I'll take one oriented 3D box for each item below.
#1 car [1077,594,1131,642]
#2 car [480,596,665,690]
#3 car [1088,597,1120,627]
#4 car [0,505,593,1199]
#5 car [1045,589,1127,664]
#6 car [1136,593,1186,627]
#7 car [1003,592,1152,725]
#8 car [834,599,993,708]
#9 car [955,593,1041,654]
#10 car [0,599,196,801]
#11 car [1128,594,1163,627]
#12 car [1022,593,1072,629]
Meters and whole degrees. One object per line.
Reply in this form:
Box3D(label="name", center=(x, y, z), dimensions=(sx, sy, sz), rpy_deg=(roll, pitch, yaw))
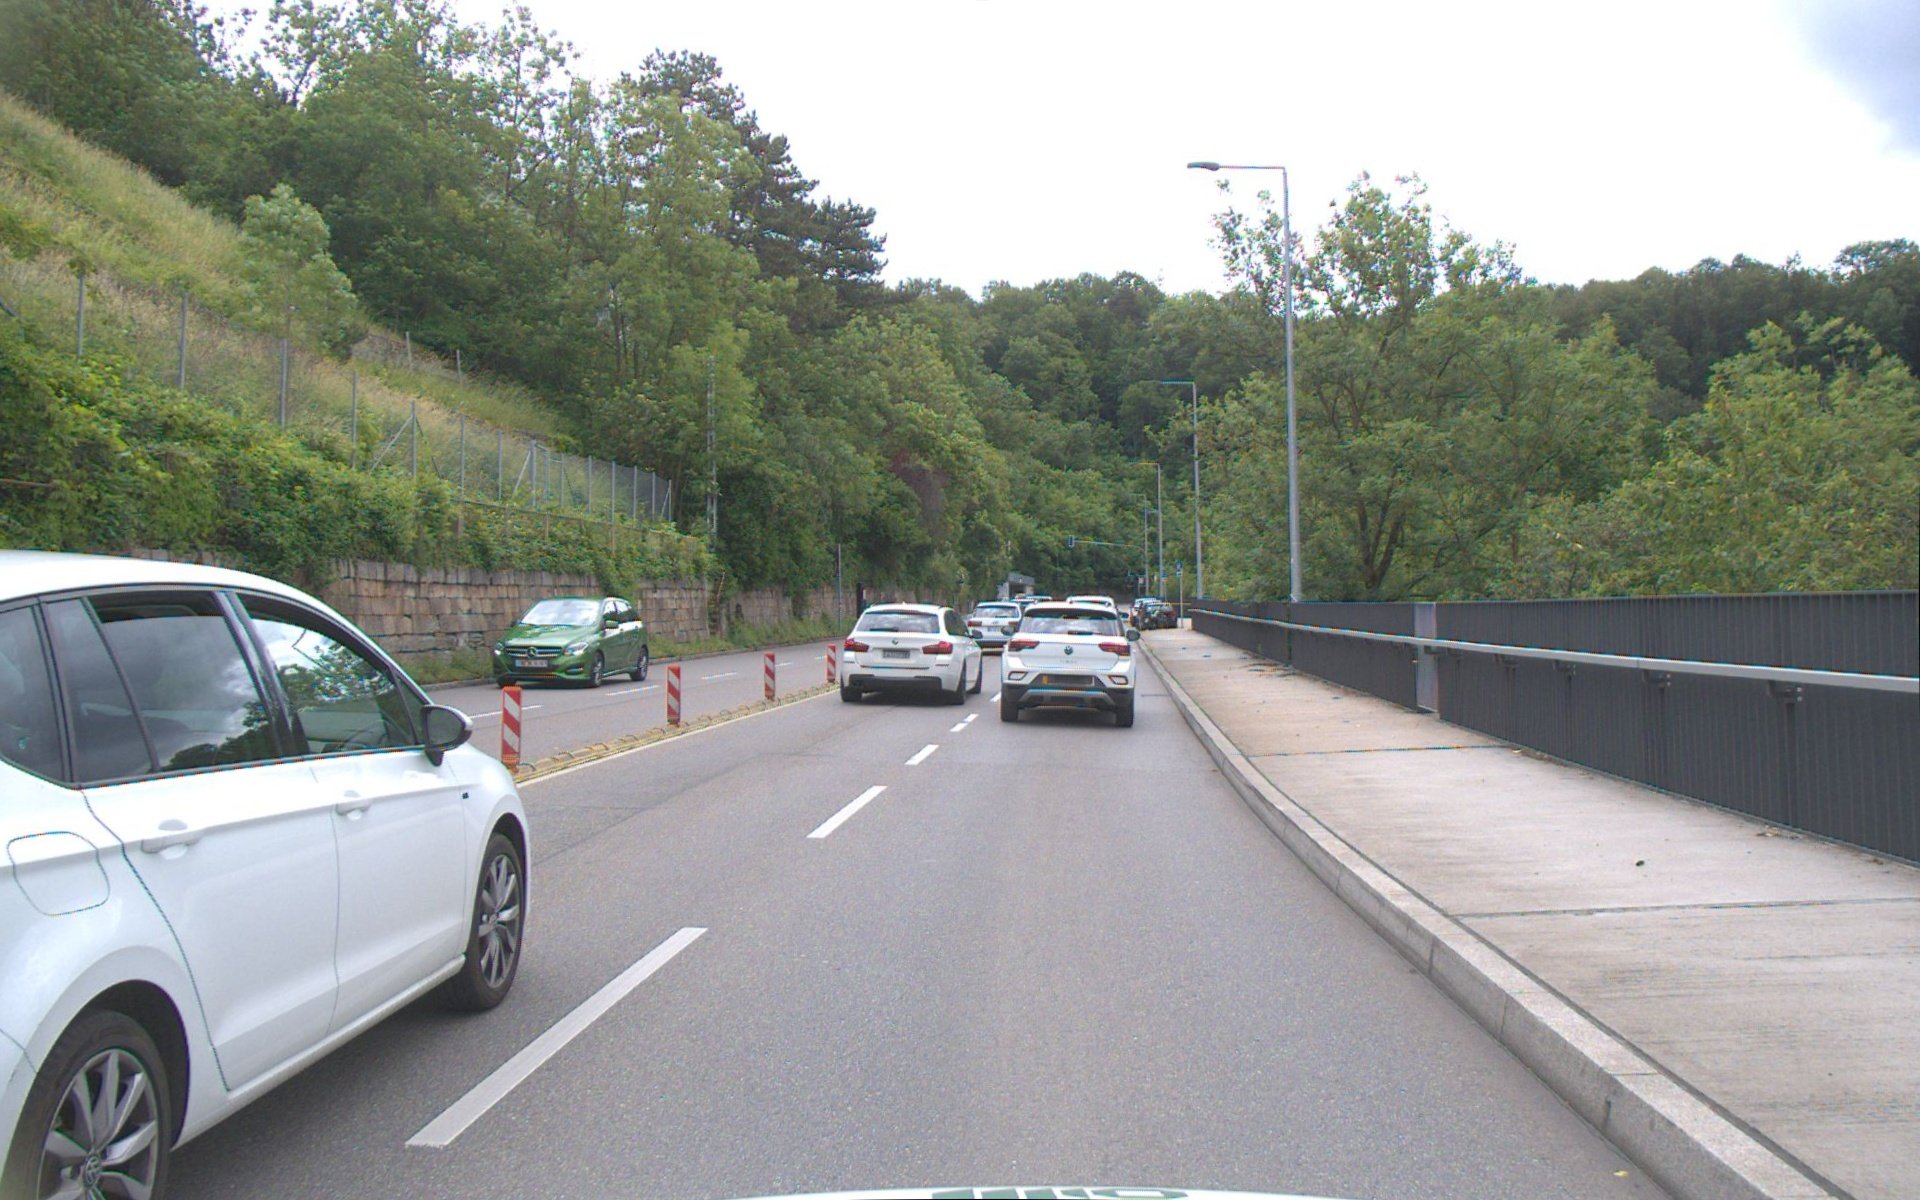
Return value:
Box3D(label="car", center=(5.504, 0.674, 63.591), dimensions=(1.952, 1.747, 4.001), rpy_deg=(1, -1, 3))
Box3D(label="car", center=(-6.825, 0.723, 29.608), dimensions=(1.811, 1.542, 4.337), rpy_deg=(0, 0, 7))
Box3D(label="car", center=(9.390, 0.809, 107.843), dimensions=(1.952, 1.892, 4.002), rpy_deg=(1, -1, 4))
Box3D(label="car", center=(-2.461, 0.653, 4.535), dimensions=(1.783, 1.608, 4.357), rpy_deg=(0, -1, 2))
Box3D(label="car", center=(3.321, 0.632, 42.847), dimensions=(1.951, 1.748, 4.117), rpy_deg=(1, 1, 6))
Box3D(label="car", center=(9.439, 0.485, 77.873), dimensions=(1.778, 1.534, 3.999), rpy_deg=(1, 0, -1))
Box3D(label="car", center=(1.698, 0.756, 22.650), dimensions=(1.789, 1.634, 4.003), rpy_deg=(1, -1, 7))
Box3D(label="car", center=(-0.619, 0.767, 25.805), dimensions=(1.789, 1.485, 4.489), rpy_deg=(2, 0, 7))
Box3D(label="car", center=(1.132, 0.621, 47.078), dimensions=(1.951, 1.529, 4.671), rpy_deg=(3, 1, 6))
Box3D(label="car", center=(-7.920, 0.737, 13.327), dimensions=(1.671, 1.467, 3.999), rpy_deg=(1, 0, -1))
Box3D(label="car", center=(10.715, 0.565, 95.721), dimensions=(1.951, 1.748, 4.117), rpy_deg=(1, 1, 6))
Box3D(label="car", center=(3.991, 0.488, 75.610), dimensions=(1.951, 1.529, 4.671), rpy_deg=(0, 1, 7))
